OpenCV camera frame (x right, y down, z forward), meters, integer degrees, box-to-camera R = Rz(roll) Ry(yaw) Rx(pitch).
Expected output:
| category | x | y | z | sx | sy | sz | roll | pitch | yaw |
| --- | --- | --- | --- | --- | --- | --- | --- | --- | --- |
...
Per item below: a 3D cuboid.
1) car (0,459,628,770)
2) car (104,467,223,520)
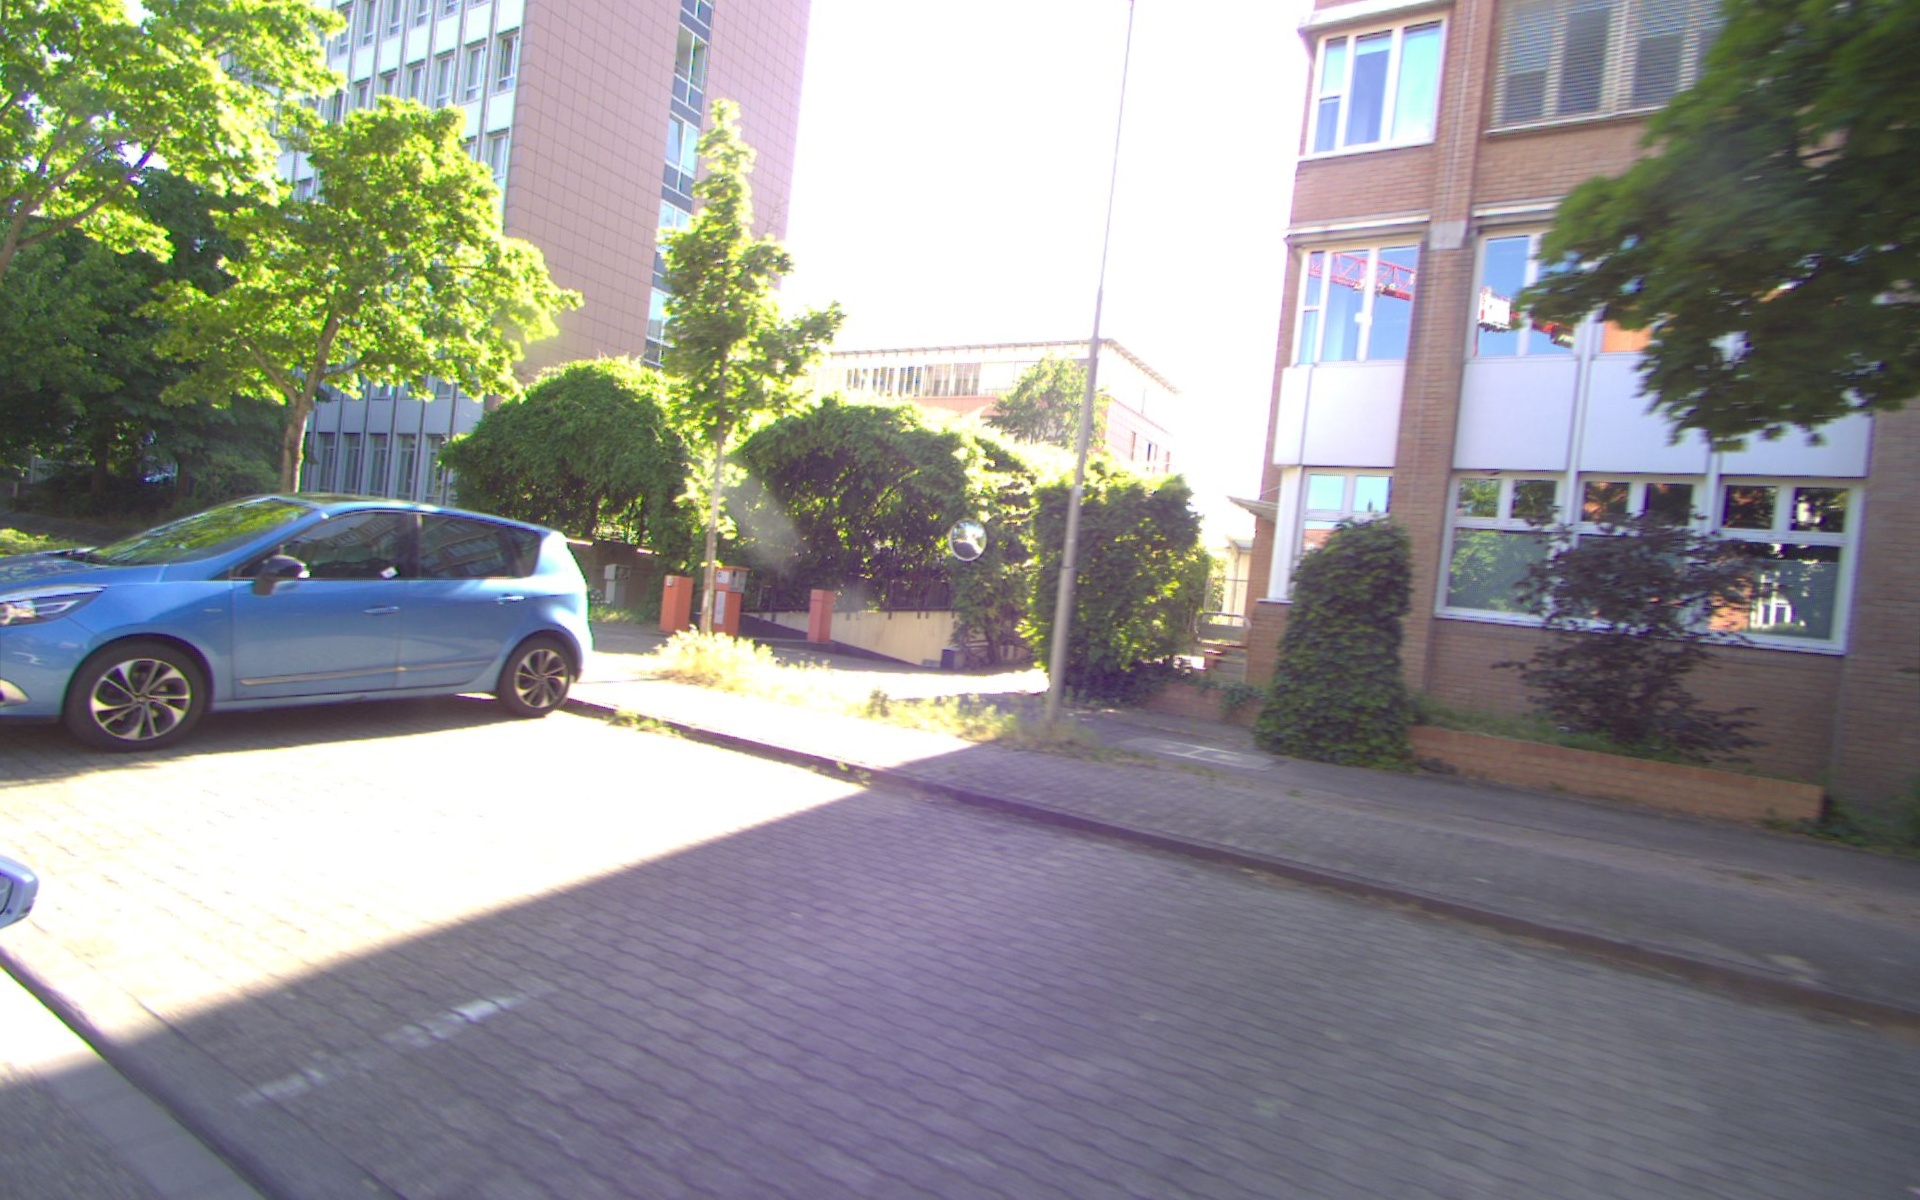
| category | x | y | z | sx | sy | sz | roll | pitch | yaw |
| --- | --- | --- | --- | --- | --- | --- | --- | --- | --- |
| car | -4.871 | 0.035 | 7.377 | 1.880 | 1.640 | 4.406 | 6 | 2 | 31 |
| car | -39.677 | -5.273 | 50.187 | 1.965 | 1.803 | 4.083 | 6 | -2 | 27 |
